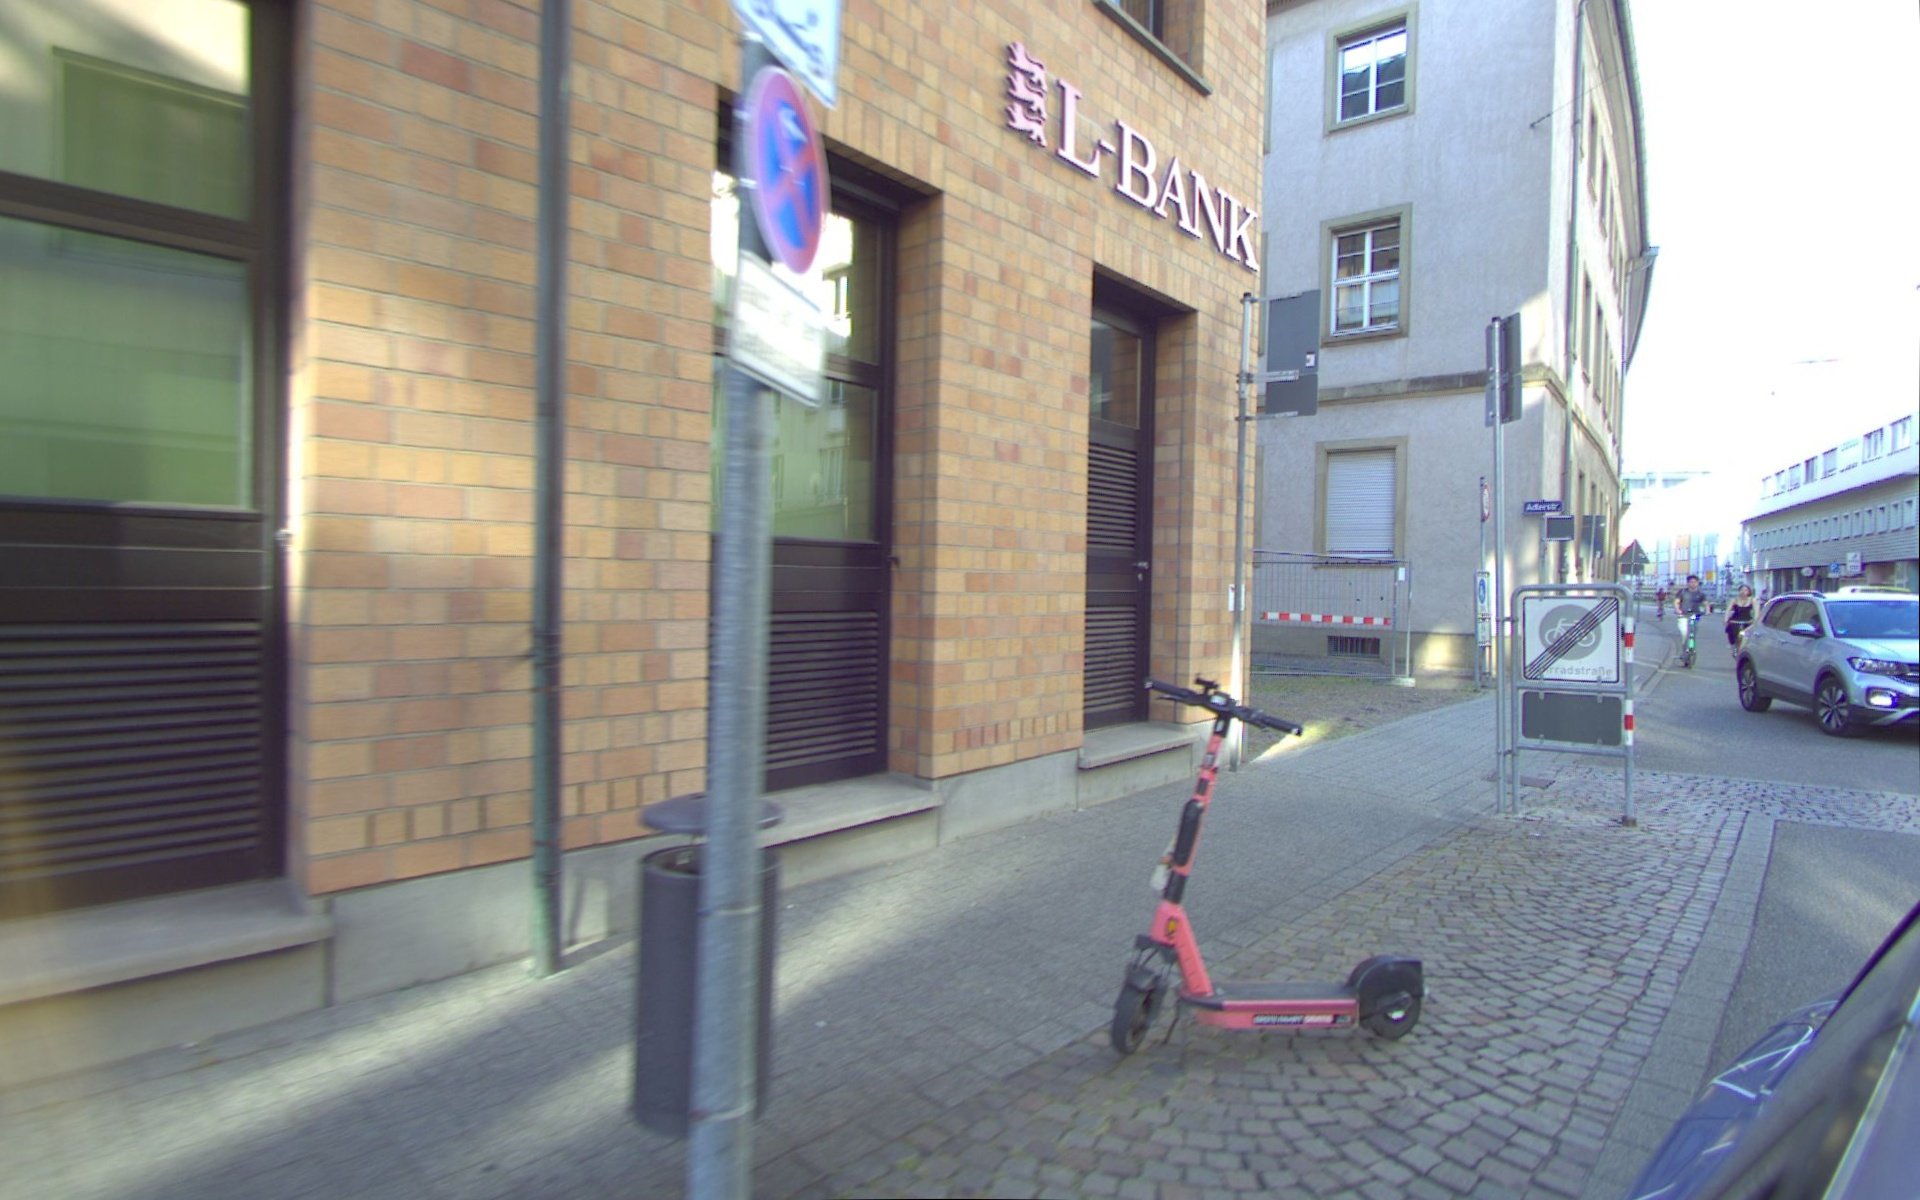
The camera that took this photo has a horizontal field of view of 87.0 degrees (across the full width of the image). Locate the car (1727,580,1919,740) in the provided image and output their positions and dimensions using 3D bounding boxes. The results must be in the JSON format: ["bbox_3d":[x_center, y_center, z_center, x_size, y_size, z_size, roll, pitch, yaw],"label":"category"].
[{"bbox_3d":[10.602,0.568,11.600,1.742,1.565,3.974,1,1,20],"label":"car"}]

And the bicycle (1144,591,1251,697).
[{"bbox_3d":[2.997,0.533,12.714,1.552,1.265,0.320,0,1,-33],"label":"bicycle"}]

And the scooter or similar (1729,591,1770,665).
[{"bbox_3d":[16.017,0.544,20.552,0.547,1.414,1.536,2,2,35],"label":"scooter or similar"}]

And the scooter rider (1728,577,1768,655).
[{"bbox_3d":[15.884,0.311,20.401,0.588,1.527,0.592,-1,0,36],"label":"scooter rider"}]

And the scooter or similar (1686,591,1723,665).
[{"bbox_3d":[15.079,0.542,20.517,0.521,1.414,1.536,2,2,35],"label":"scooter or similar"}]

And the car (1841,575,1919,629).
[{"bbox_3d":[34.132,0.033,37.298,1.875,1.897,3.954,0,1,32],"label":"car"}]

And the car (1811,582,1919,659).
[{"bbox_3d":[21.498,0.474,23.776,1.845,1.613,3.759,3,1,34],"label":"car"}]

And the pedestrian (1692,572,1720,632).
[{"bbox_3d":[26.003,0.051,35.298,0.711,2.038,0.690,2,1,35],"label":"pedestrian"}]

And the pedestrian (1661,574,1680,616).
[{"bbox_3d":[35.161,-0.273,50.121,0.711,2.038,0.690,2,1,35],"label":"pedestrian"}]

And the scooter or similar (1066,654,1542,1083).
[{"bbox_3d":[1.101,0.826,3.371,1.390,1.251,0.539,1,0,-6],"label":"scooter or similar"}]

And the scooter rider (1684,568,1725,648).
[{"bbox_3d":[15.296,0.164,20.810,0.644,1.614,0.592,-1,0,36],"label":"scooter rider"}]
